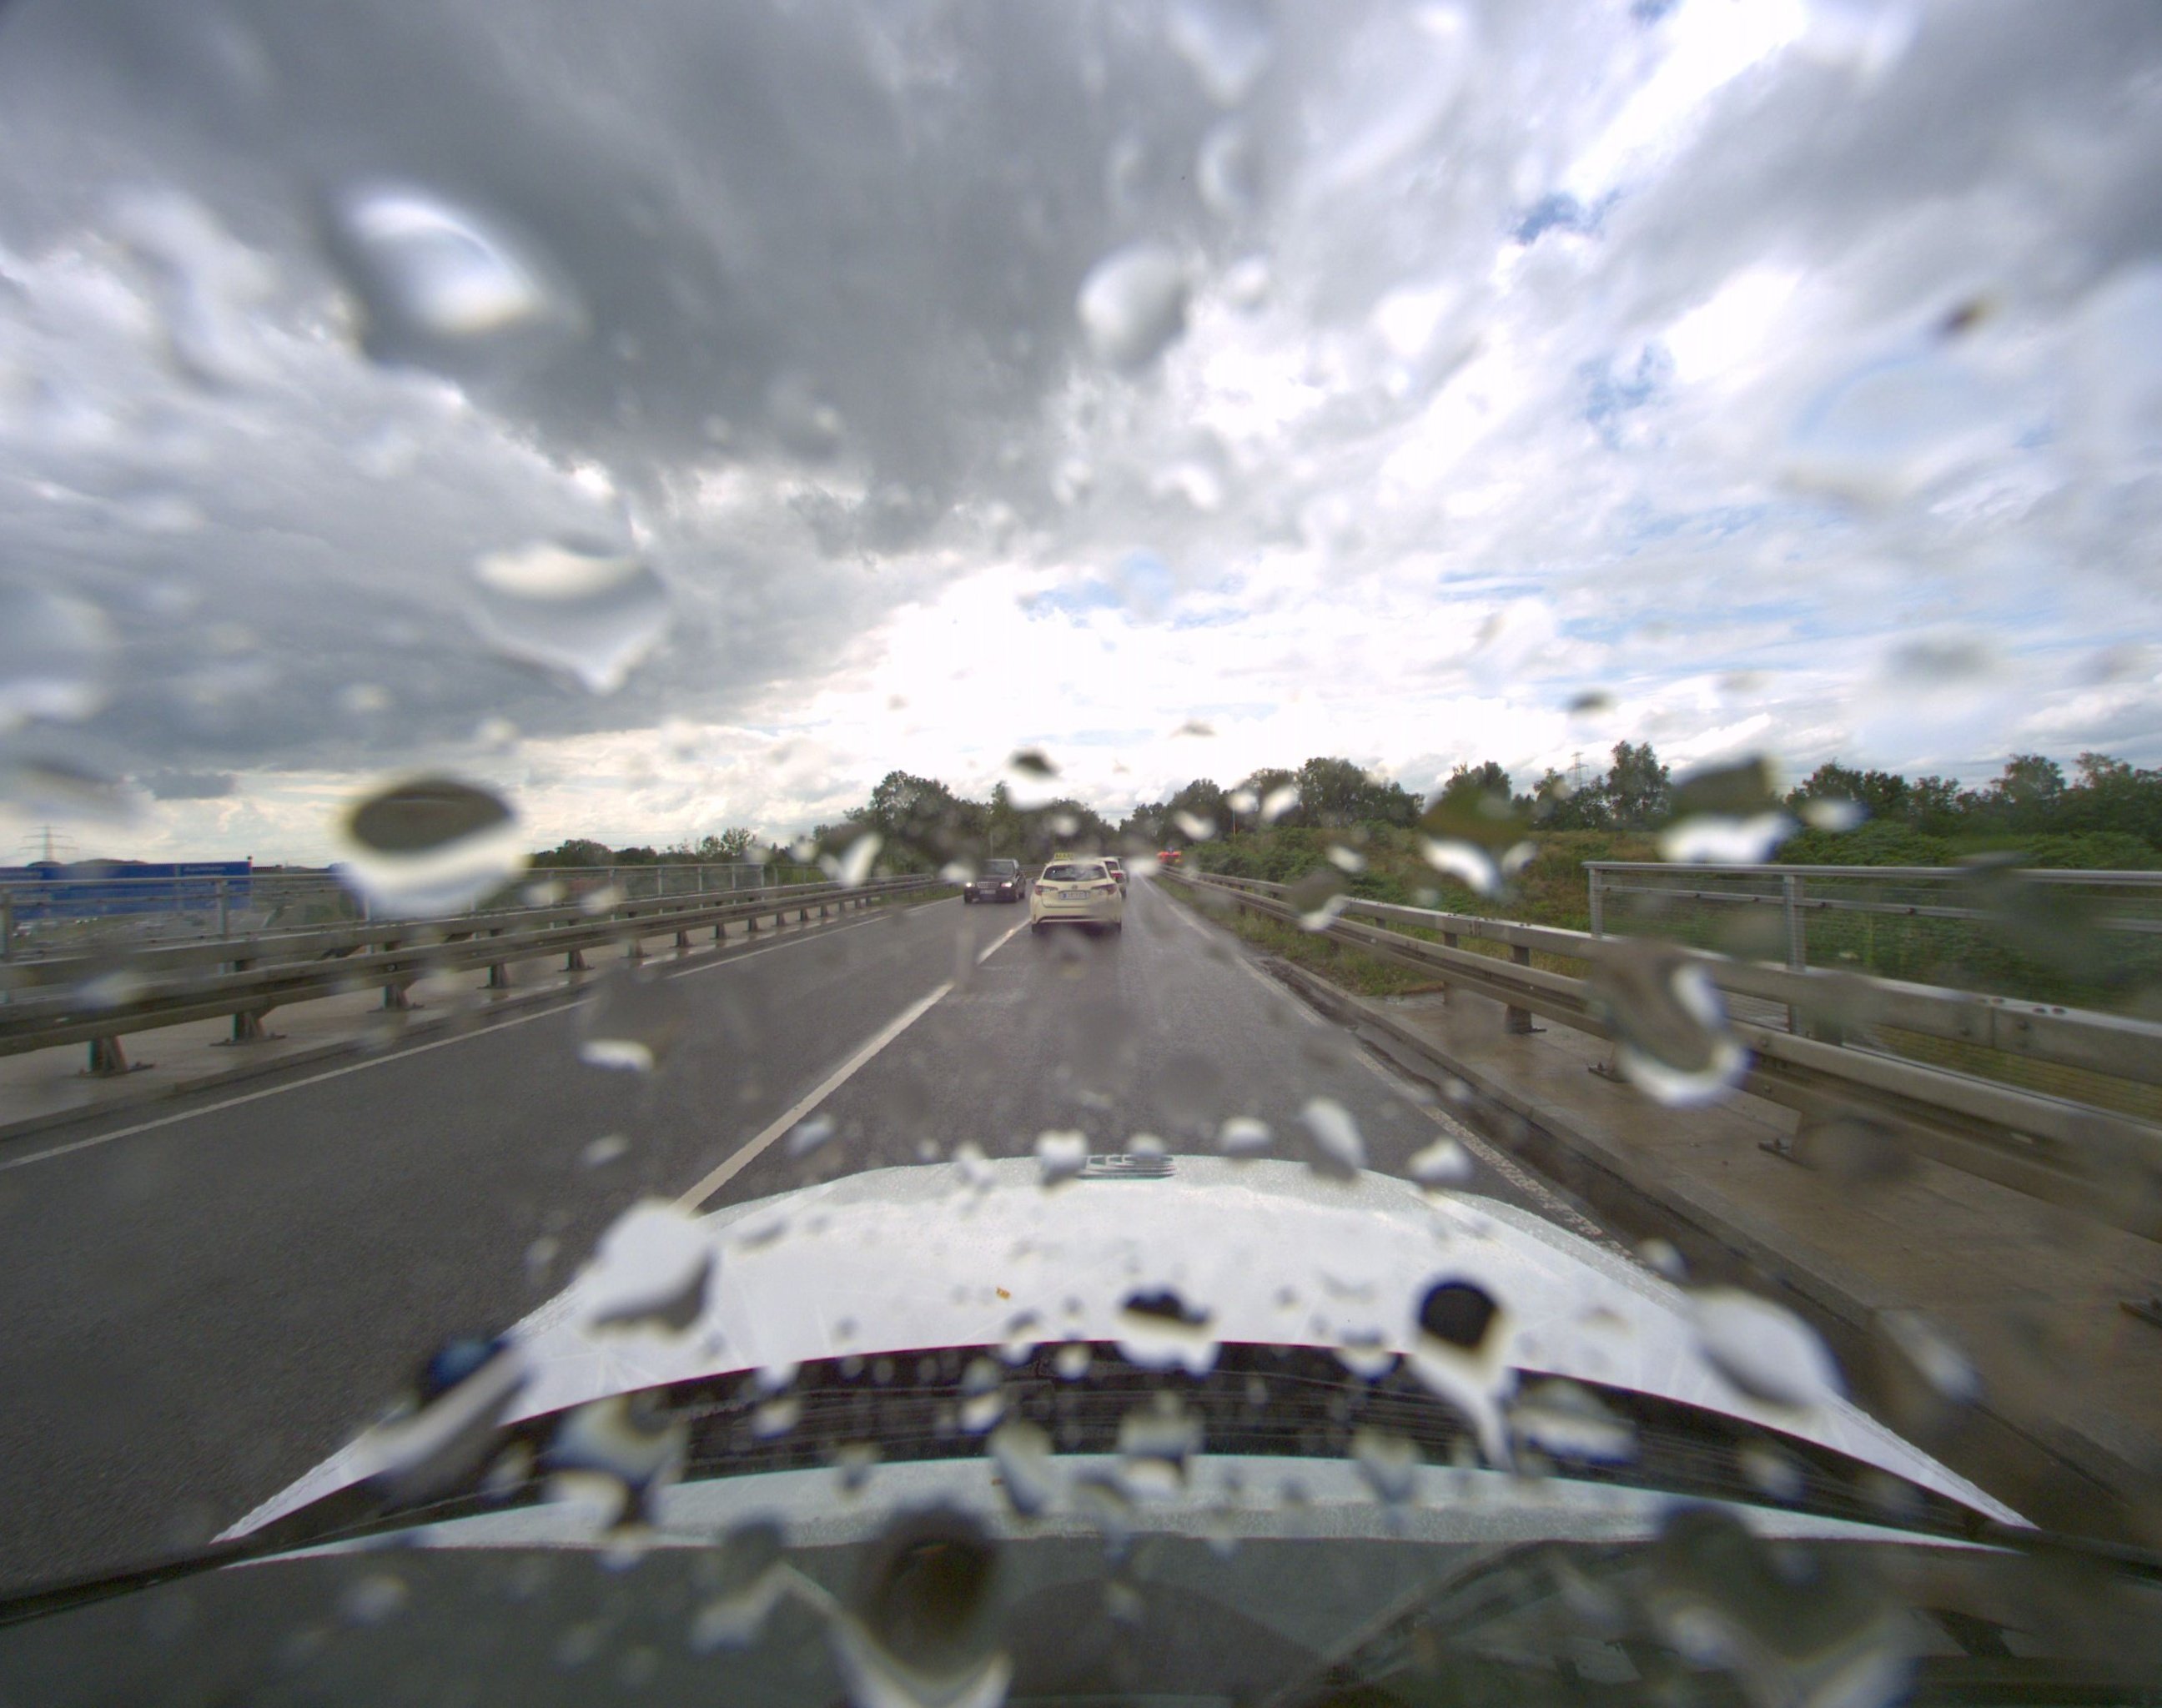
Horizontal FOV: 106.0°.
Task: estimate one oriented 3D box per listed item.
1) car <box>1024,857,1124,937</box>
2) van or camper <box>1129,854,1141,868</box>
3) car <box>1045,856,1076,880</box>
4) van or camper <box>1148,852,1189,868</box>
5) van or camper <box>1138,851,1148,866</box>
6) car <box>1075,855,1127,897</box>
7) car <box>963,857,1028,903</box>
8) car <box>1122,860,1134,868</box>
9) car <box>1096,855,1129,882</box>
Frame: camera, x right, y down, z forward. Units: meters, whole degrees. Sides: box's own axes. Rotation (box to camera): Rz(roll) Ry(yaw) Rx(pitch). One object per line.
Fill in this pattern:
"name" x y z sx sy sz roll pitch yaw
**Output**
"car" -0.065 0.801 17.128 1.847 1.394 4.173 0 1 2
"van or camper" 10.956 1.392 165.398 2.323 2.864 6.312 0 0 3
"car" -1.362 0.945 55.916 1.803 1.509 4.613 0 0 2
"van or camper" 12.907 0.834 119.806 5.683 2.241 2.011 0 0 -13
"van or camper" 14.888 1.096 195.940 2.323 3.562 6.312 0 0 3
"car" 0.795 0.780 31.116 1.847 1.443 4.173 0 1 2
"car" -2.865 0.842 28.162 1.690 1.432 4.325 0 0 1
"car" 8.199 1.735 142.561 1.845 1.443 4.177 0 0 5
"car" 1.819 0.804 47.719 1.847 1.443 4.173 0 1 2
